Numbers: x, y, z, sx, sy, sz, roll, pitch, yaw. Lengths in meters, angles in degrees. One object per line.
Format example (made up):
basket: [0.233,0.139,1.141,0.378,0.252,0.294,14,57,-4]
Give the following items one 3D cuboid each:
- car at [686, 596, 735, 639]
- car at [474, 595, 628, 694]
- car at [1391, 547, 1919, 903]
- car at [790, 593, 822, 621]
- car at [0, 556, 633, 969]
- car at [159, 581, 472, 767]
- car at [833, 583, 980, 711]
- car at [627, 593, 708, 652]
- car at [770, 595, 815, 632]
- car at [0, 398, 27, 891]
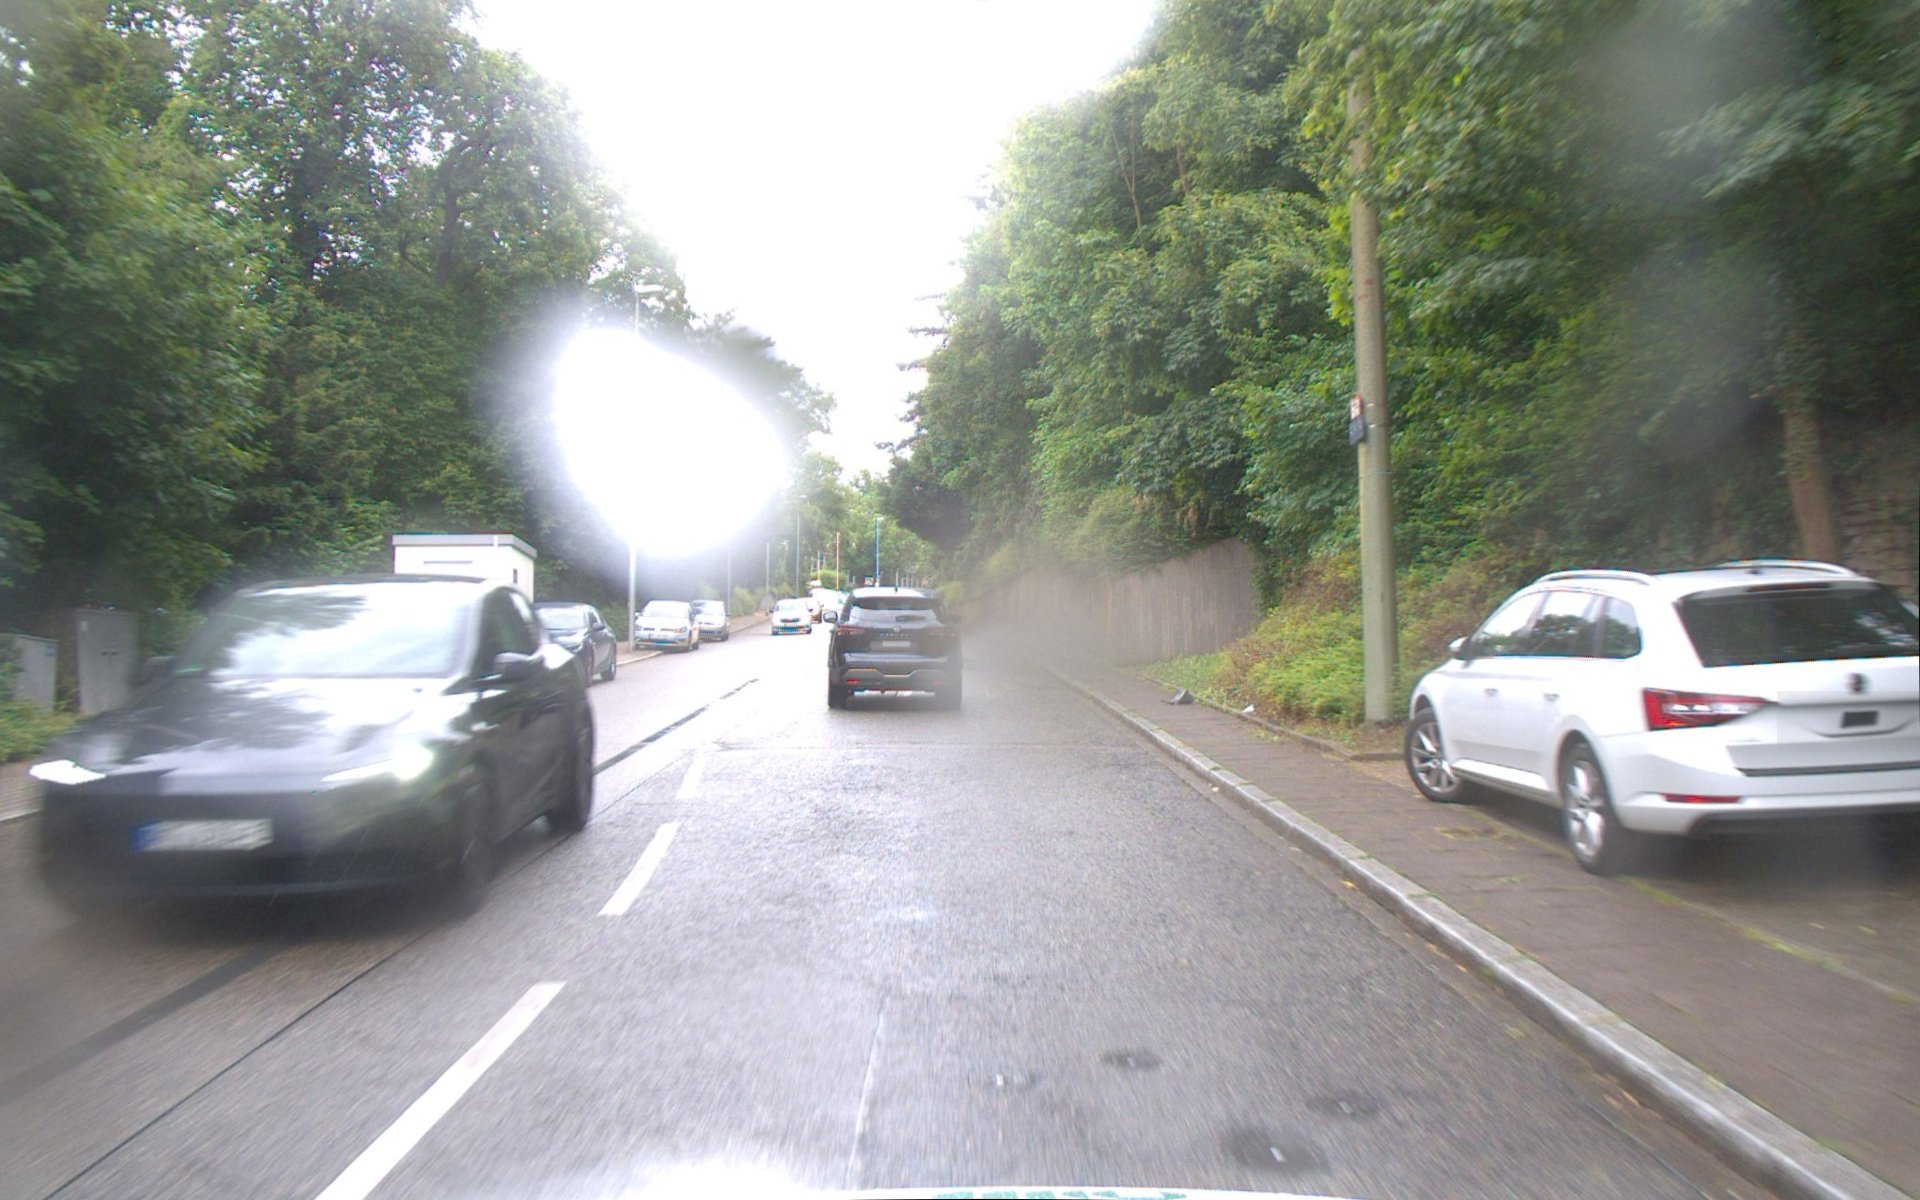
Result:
car: [-9.350,0.623,62.179,1.595,1.525,3.923,2,0,-6]
car: [-7.312,0.742,30.062,1.823,1.519,4.752,-4,0,-4]
car: [4.011,0.519,9.616,1.703,1.503,4.739,-3,0,0]
car: [-8.916,0.367,95.767,1.726,1.517,3.996,-2,0,-5]
car: [-3.144,0.654,9.038,1.897,1.653,4.498,-1,0,-2]
car: [-6.570,0.676,17.370,1.611,1.632,4.185,-3,0,-1]
car: [-0.834,0.595,23.279,1.890,1.641,3.996,0,0,-4]
car: [-8.905,0.661,50.638,1.849,1.639,4.236,-3,0,-3]
car: [-7.107,0.557,70.329,1.691,1.460,3.909,-3,0,-4]
car: [-6.040,0.284,6.103,2.074,2.595,5.442,-3,0,-1]
